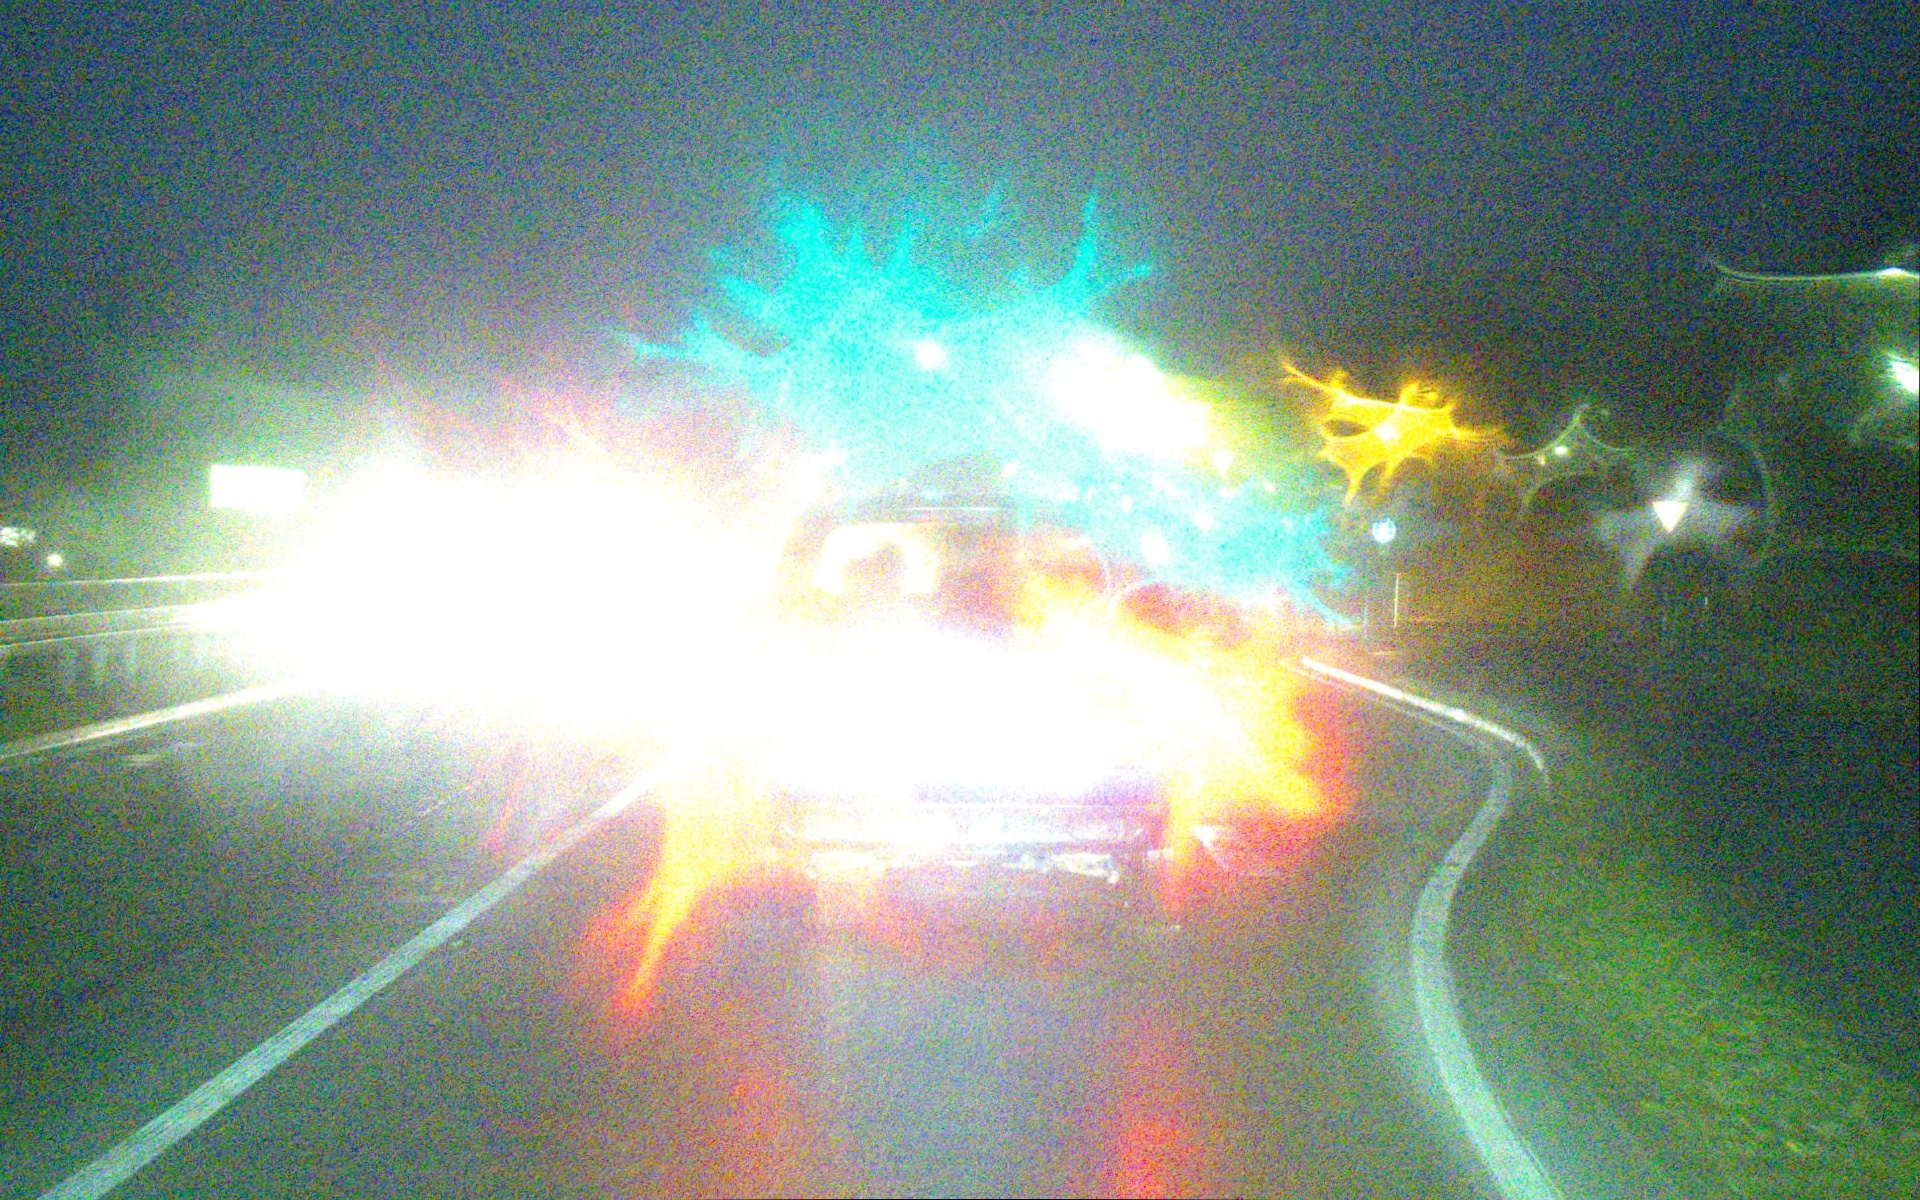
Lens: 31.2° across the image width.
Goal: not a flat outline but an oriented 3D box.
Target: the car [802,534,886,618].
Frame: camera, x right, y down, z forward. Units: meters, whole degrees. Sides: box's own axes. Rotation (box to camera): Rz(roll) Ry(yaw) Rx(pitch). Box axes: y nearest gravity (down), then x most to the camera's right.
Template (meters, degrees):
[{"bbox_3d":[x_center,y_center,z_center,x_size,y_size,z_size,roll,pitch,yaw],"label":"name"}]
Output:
[{"bbox_3d":[-3.014,-0.585,88.294,1.993,2.007,4.000,0,-2,-4],"label":"car"}]

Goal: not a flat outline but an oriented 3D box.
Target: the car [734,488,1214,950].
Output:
[{"bbox_3d":[0.018,0.429,14.879,1.775,1.706,4.000,1,0,-1],"label":"car"}]
